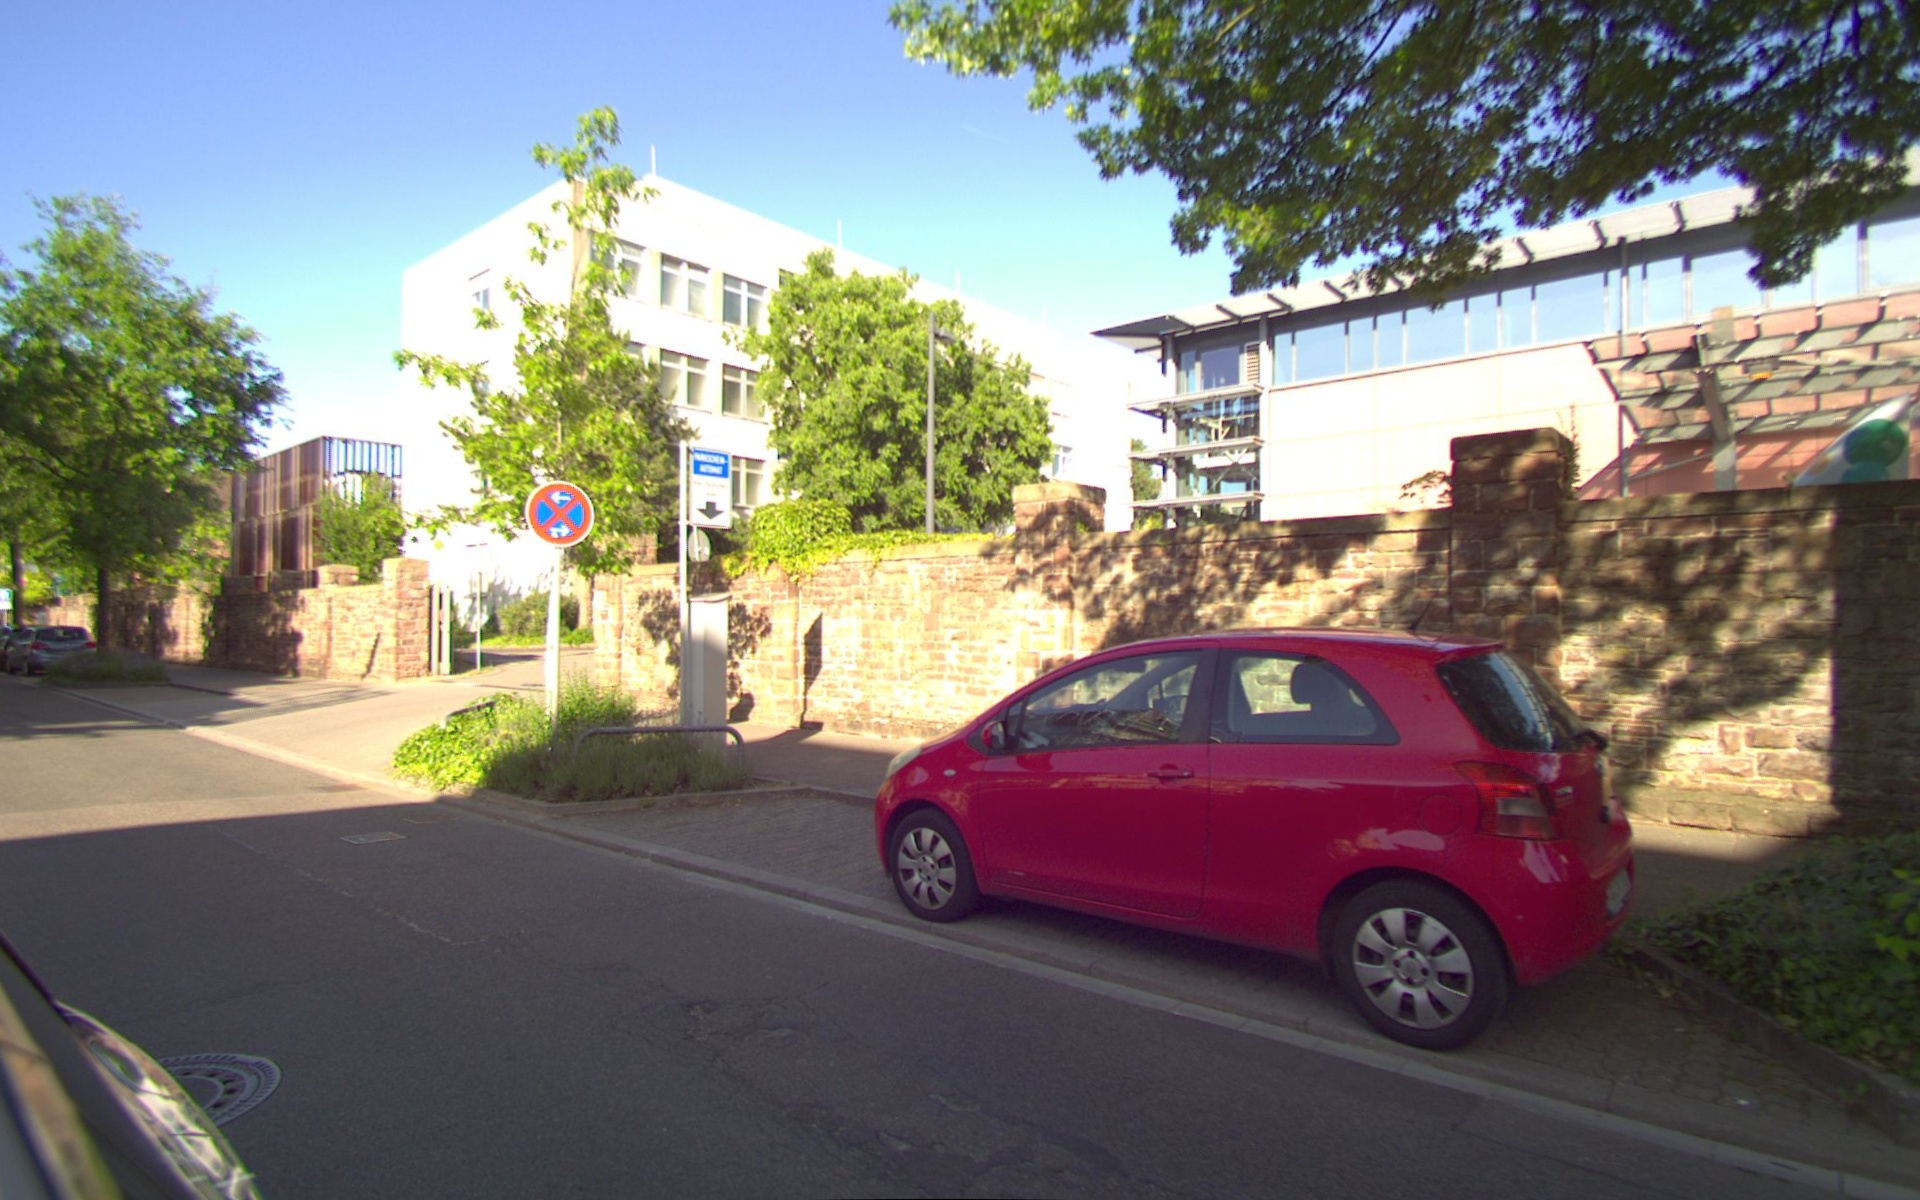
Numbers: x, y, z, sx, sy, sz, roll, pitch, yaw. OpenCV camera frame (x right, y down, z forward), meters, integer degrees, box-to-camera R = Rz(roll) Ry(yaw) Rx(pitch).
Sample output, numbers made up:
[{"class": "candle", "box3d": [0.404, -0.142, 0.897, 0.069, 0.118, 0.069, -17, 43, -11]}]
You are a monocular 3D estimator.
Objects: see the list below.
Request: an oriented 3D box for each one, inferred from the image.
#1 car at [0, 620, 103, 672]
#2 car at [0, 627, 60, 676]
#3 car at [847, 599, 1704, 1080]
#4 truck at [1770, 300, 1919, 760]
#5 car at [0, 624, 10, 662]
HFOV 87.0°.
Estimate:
[{"class": "car", "box3d": [-27.576, 1.364, 30.651, 3.832, 1.432, 1.671, -1, 0, 37]}, {"class": "car", "box3d": [-31.542, 1.681, 33.892, 4.041, 1.526, 1.557, -1, -1, 40]}, {"class": "car", "box3d": [1.277, 0.774, 4.996, 3.707, 1.470, 1.591, -1, 0, 42]}, {"class": "truck", "box3d": [10.789, -0.631, 7.441, 7.423, 3.739, 2.704, -1, 0, 41]}, {"class": "car", "box3d": [-40.271, 1.802, 41.424, 3.848, 1.522, 1.659, -2, 1, 42]}]
